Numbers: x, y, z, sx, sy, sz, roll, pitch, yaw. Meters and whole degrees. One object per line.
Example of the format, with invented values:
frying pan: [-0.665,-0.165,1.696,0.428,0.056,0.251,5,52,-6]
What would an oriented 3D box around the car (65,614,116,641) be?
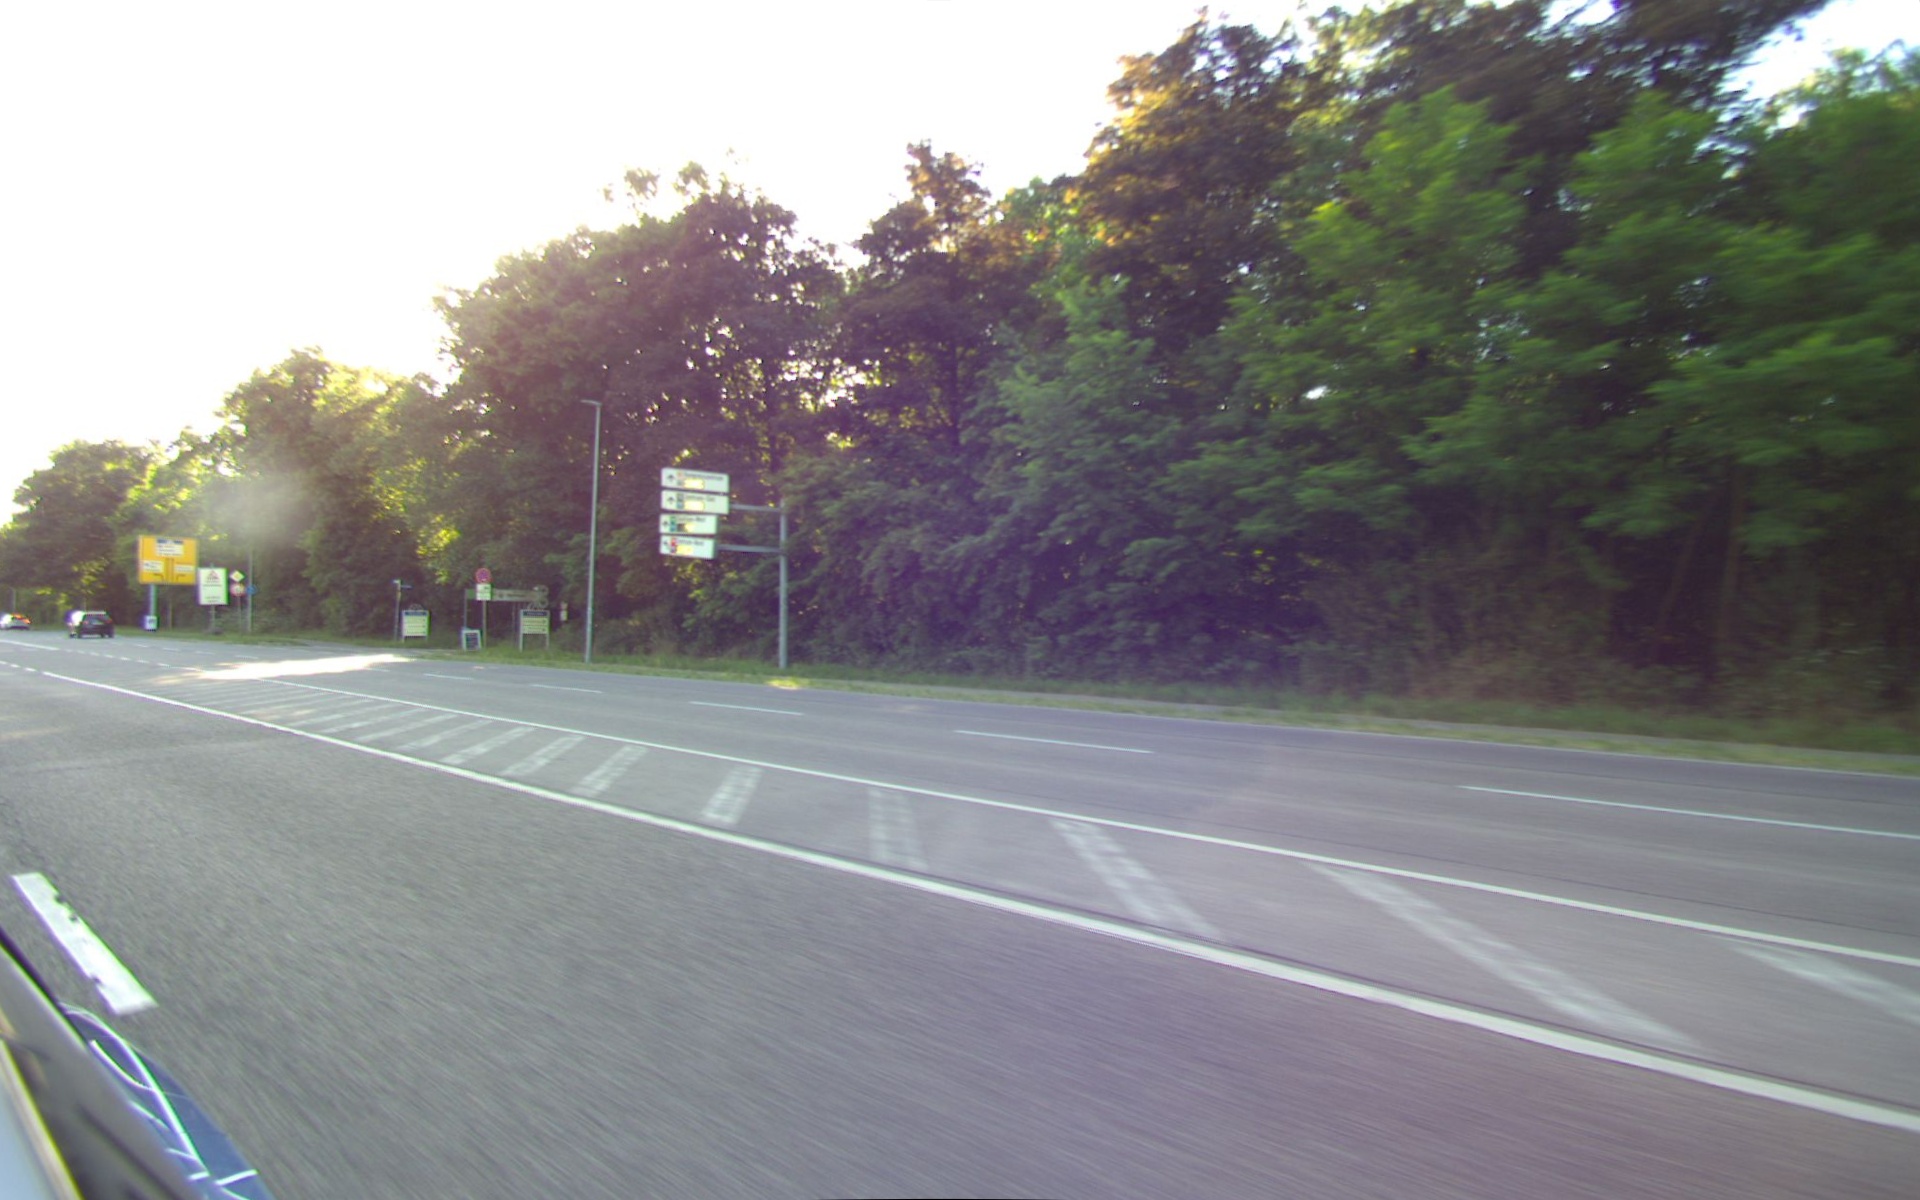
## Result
car: [-54.458,1.699,63.337,4.349,1.601,1.806,-1,-1,41]

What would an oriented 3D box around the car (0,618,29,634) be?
car: [-92.681,2.497,99.030,4.304,1.515,1.806,-1,-2,41]
